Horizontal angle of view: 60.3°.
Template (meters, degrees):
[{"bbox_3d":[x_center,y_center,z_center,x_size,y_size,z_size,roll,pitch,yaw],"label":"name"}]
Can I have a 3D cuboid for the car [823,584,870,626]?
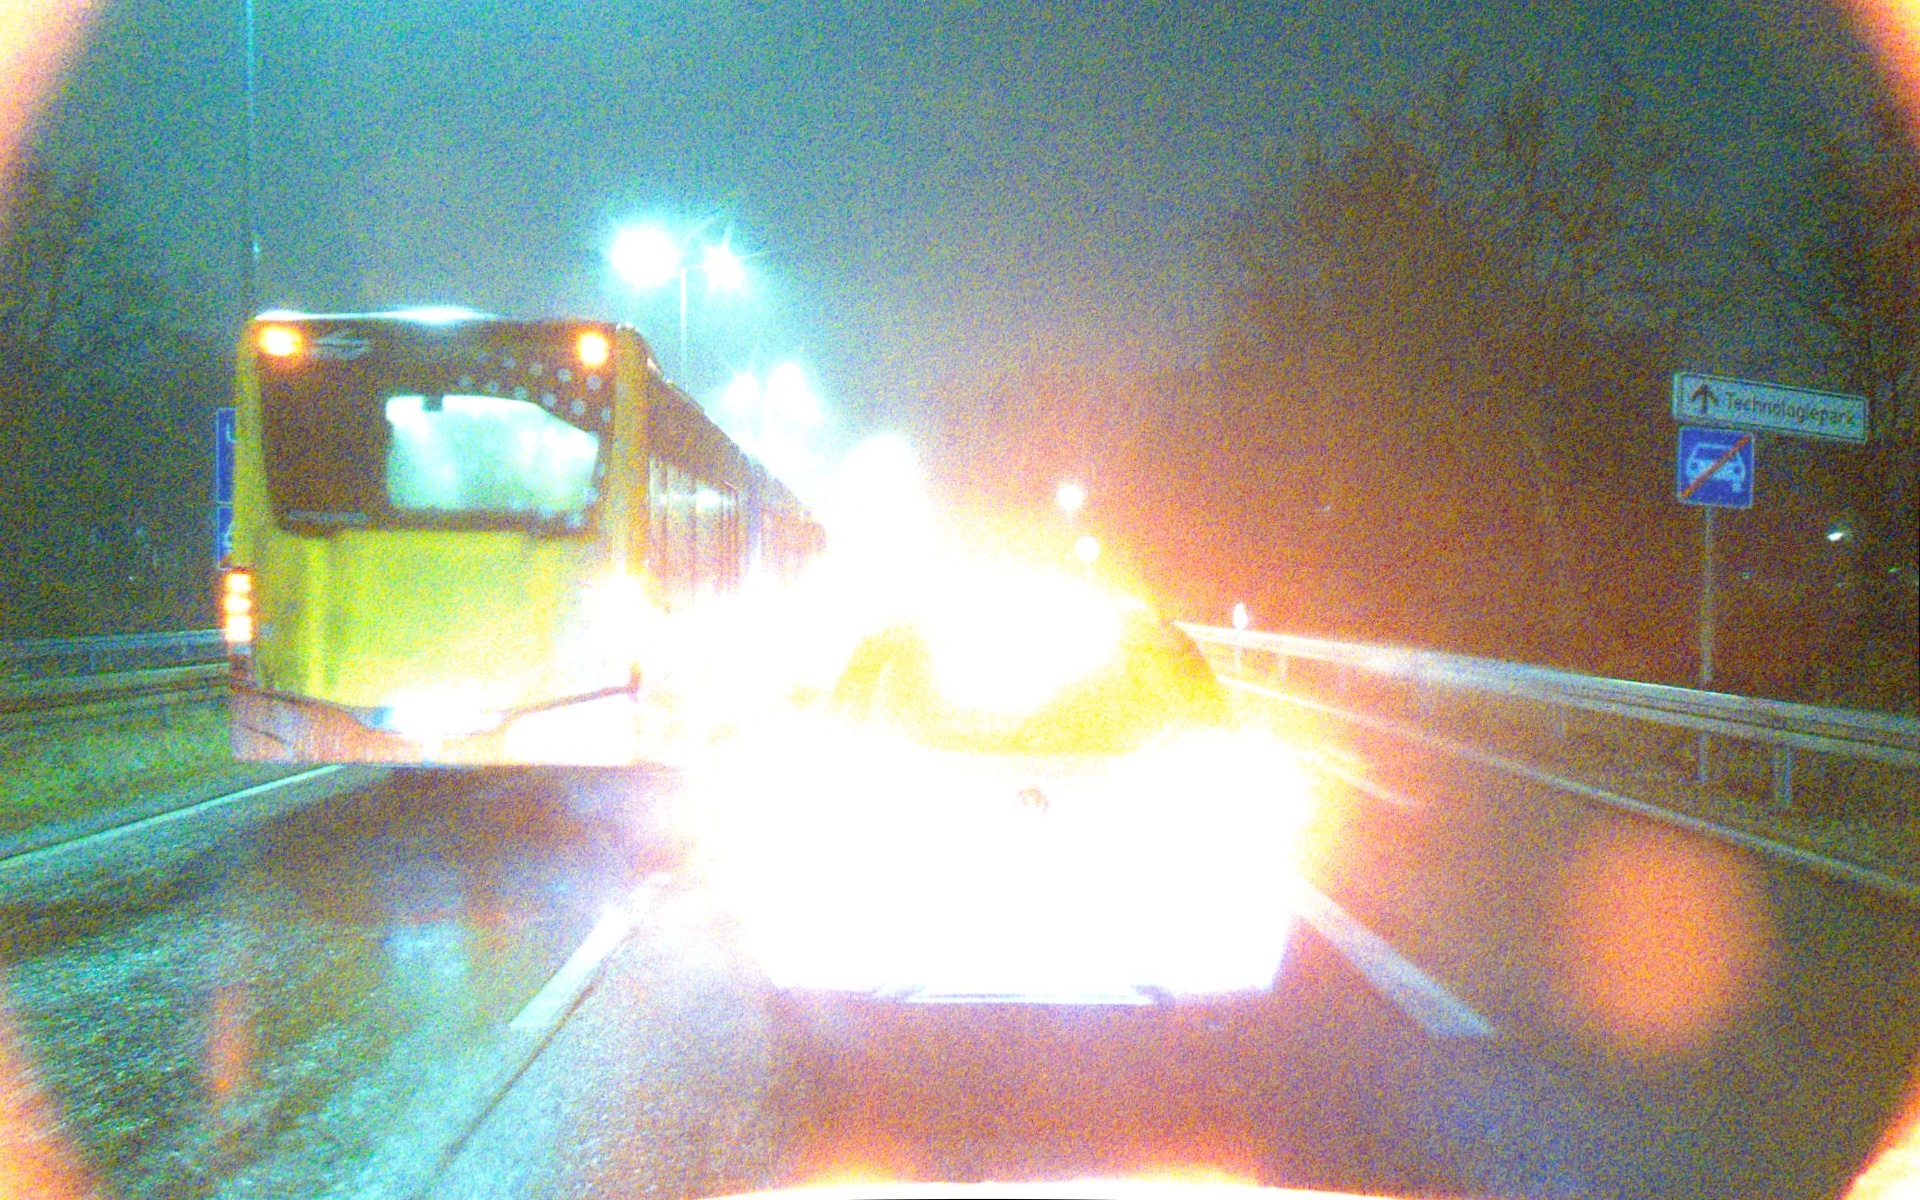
[{"bbox_3d":[-4.439,0.181,64.614,1.744,1.570,3.871,1,0,-4],"label":"car"}]

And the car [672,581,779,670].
[{"bbox_3d":[-4.390,0.450,31.408,1.744,1.570,3.871,1,0,-4],"label":"car"}]

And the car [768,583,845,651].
[{"bbox_3d":[-3.729,0.392,40.707,1.744,1.570,3.872,1,0,-3],"label":"car"}]

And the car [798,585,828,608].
[{"bbox_3d":[-11.185,-0.289,125.816,1.953,1.668,3.999,1,0,-1],"label":"car"}]

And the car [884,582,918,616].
[{"bbox_3d":[-3.630,-0.065,102.057,1.953,2.049,3.999,1,0,-1],"label":"car"}]

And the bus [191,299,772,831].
[{"bbox_3d":[-3.266,-0.226,13.978,2.759,3.077,8.682,0,0,-3],"label":"bus"}]

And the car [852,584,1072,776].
[{"bbox_3d":[-0.087,0.609,15.246,1.697,1.474,4.722,1,0,-3],"label":"car"}]

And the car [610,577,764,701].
[{"bbox_3d":[-3.696,0.483,22.940,1.744,1.570,3.871,1,0,-4],"label":"car"}]

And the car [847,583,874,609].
[{"bbox_3d":[-7.288,-0.299,121.471,1.779,1.829,3.802,1,0,-1],"label":"car"}]

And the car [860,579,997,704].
[{"bbox_3d":[-0.518,0.522,23.121,1.705,1.592,3.773,1,0,-4],"label":"car"}]

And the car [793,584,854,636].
[{"bbox_3d":[-4.232,0.288,51.588,1.744,1.570,3.873,1,0,-3],"label":"car"}]

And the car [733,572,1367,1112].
[{"bbox_3d":[0.291,0.667,6.960,1.784,1.510,4.568,0,0,1],"label":"car"}]
